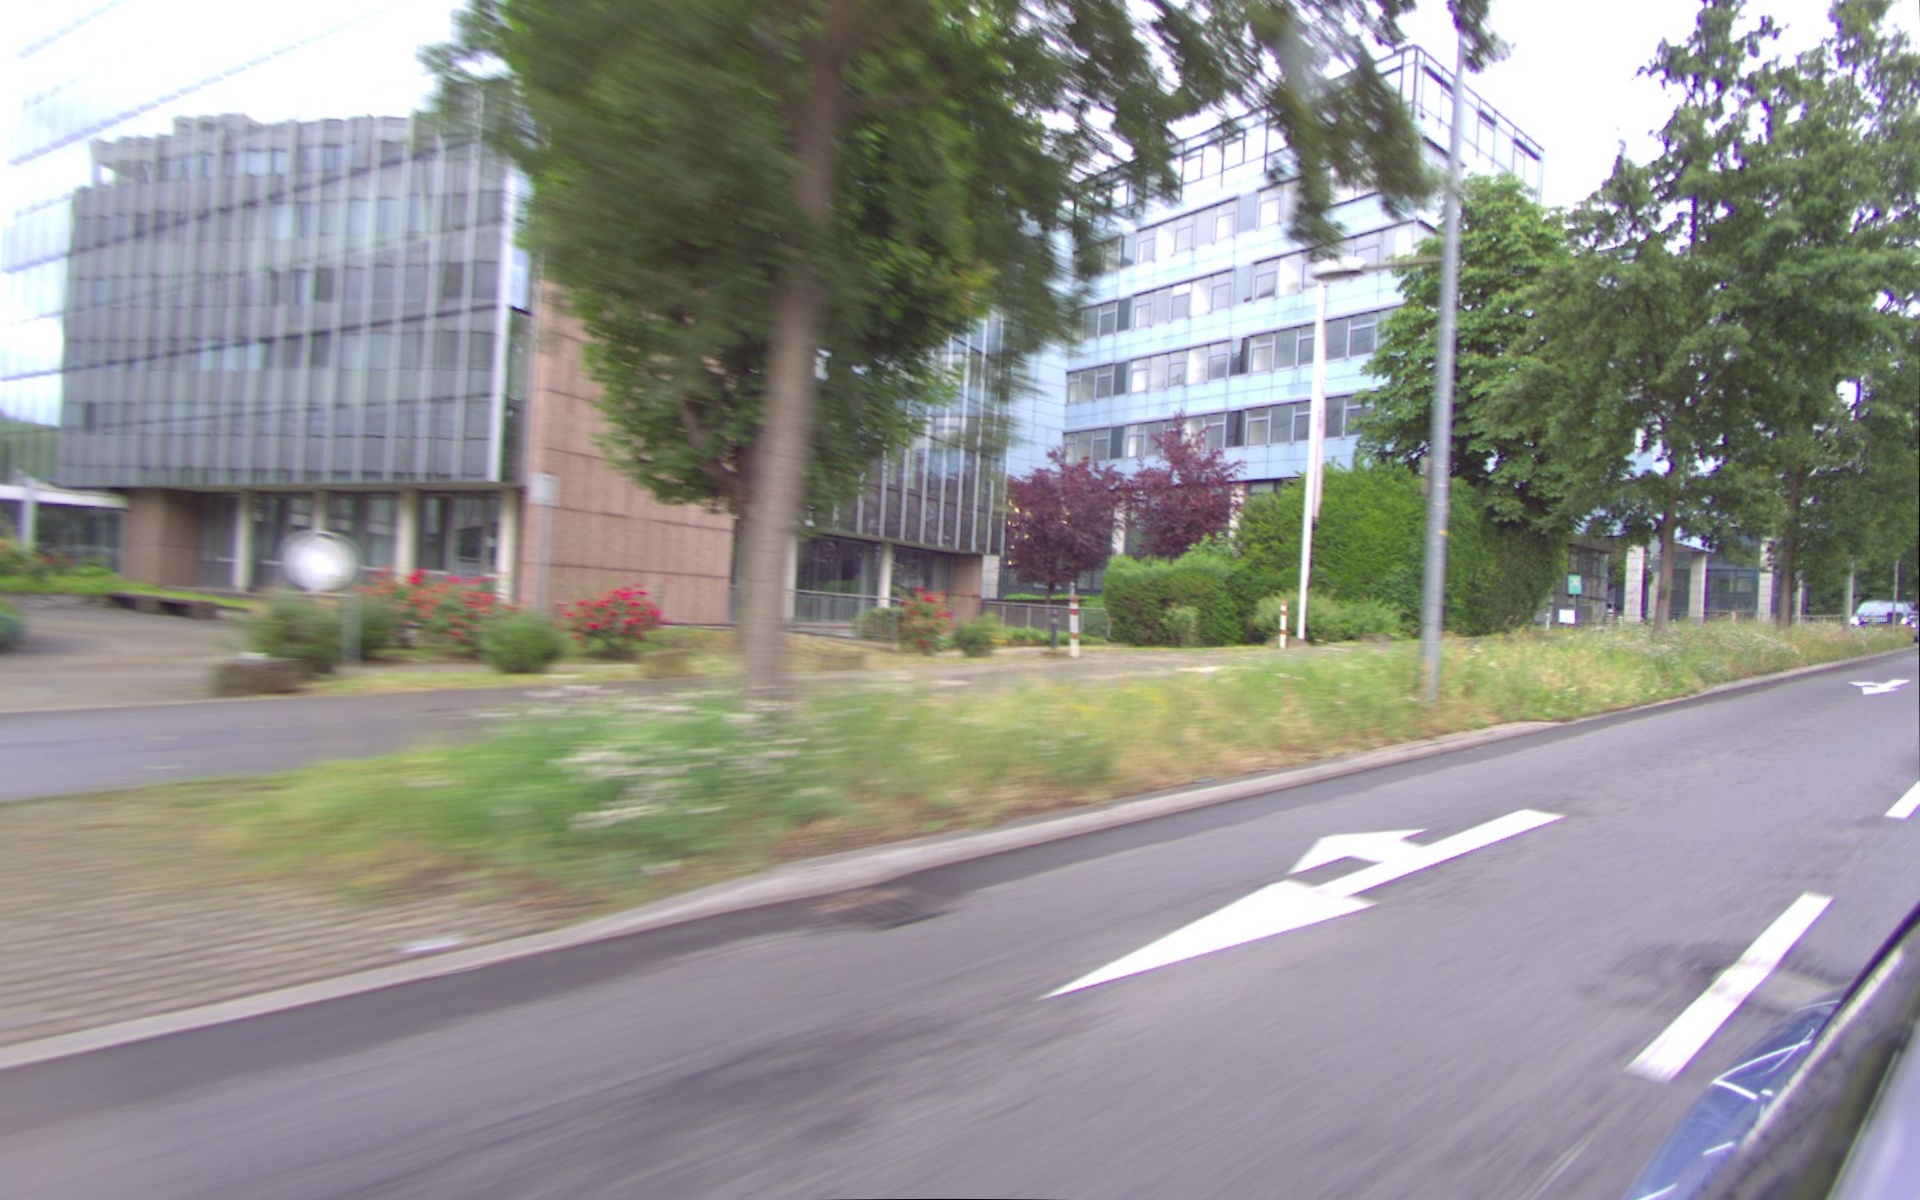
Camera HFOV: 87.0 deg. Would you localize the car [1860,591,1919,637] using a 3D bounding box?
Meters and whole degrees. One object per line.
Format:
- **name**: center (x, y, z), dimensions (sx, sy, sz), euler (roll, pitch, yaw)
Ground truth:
- **car**: center (36.662, 0.527, 39.518), dimensions (4.295, 1.691, 1.814), euler (1, 0, -42)
